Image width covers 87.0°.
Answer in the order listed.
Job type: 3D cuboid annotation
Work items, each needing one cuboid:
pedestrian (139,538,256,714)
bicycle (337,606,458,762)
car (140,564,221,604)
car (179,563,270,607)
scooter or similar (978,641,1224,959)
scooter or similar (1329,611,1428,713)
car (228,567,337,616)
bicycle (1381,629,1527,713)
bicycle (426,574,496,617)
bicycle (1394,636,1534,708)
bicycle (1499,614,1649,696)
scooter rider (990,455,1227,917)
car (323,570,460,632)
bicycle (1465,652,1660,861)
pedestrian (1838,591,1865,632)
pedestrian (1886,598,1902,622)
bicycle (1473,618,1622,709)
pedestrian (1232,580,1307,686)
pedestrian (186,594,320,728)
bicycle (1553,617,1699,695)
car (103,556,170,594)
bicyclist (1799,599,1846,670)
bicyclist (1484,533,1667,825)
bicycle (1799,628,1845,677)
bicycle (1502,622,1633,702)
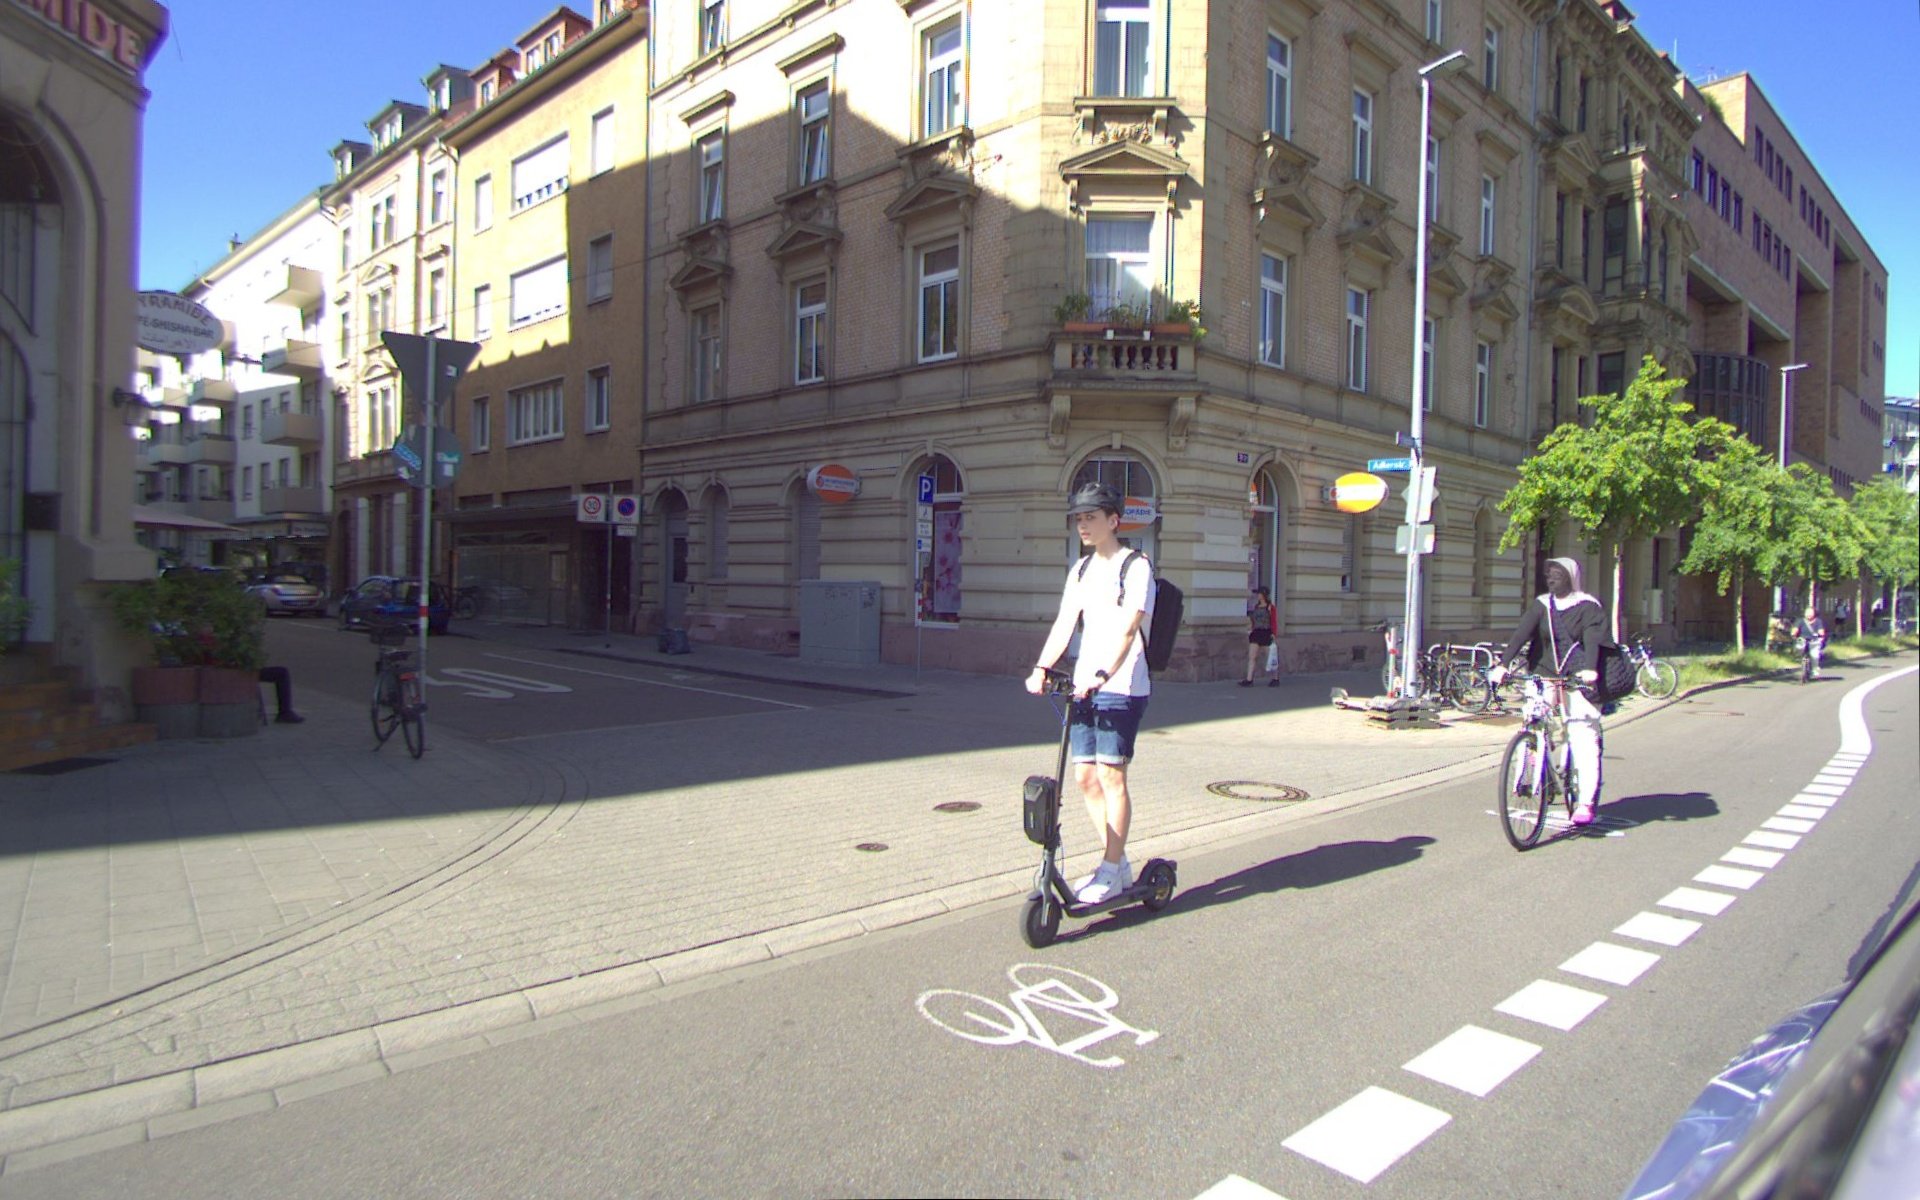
[{"bbox_3d":[-8.238,0.261,10.934,0.906,1.783,0.854,0,0,43],"label":"pedestrian"},{"bbox_3d":[-5.021,0.694,8.977,0.641,1.186,1.823,5,-1,-36],"label":"bicycle"},{"bbox_3d":[-30.106,-0.645,39.056,3.757,1.450,1.776,2,1,40],"label":"car"},{"bbox_3d":[-26.031,-0.541,35.767,3.757,1.450,1.776,2,1,40],"label":"car"},{"bbox_3d":[0.671,0.832,4.664,1.150,1.242,0.491,1,-1,-41],"label":"scooter or similar"},{"bbox_3d":[5.385,0.774,13.064,0.411,1.204,1.115,1,1,-33],"label":"scooter or similar"},{"bbox_3d":[-21.298,-0.280,31.765,3.983,1.351,1.775,2,-1,40],"label":"car"},{"bbox_3d":[6.651,0.923,13.705,0.595,0.955,1.677,1,1,-33],"label":"bicycle"},{"bbox_3d":[-14.761,-0.146,29.919,1.988,1.193,0.629,1,1,19],"label":"bicycle"},{"bbox_3d":[7.054,0.985,14.241,0.595,0.831,1.677,1,2,-33],"label":"bicycle"},{"bbox_3d":[10.289,0.881,17.028,0.697,1.142,2.001,1,3,-39],"label":"bicycle"},{"bbox_3d":[0.688,0.351,4.674,0.885,1.884,0.667,1,-1,-41],"label":"scooter rider"},{"bbox_3d":[-14.633,0.006,25.981,3.983,1.438,1.775,2,-1,40],"label":"car"},{"bbox_3d":[3.908,0.924,6.510,1.761,1.106,0.558,0,-1,-42],"label":"bicycle"},{"bbox_3d":[41.939,0.526,47.630,1.087,1.906,0.789,0,1,-41],"label":"pedestrian"},{"bbox_3d":[58.260,0.607,63.128,0.723,1.505,0.633,0,1,-41],"label":"pedestrian"},{"bbox_3d":[8.523,0.886,14.747,0.595,1.114,1.729,1,3,-37],"label":"bicycle"},{"bbox_3d":[4.786,0.486,15.664,0.911,1.561,0.710,0,1,-41],"label":"pedestrian"},{"bbox_3d":[-6.958,0.560,9.968,0.849,1.229,0.920,0,0,43],"label":"pedestrian"},{"bbox_3d":[11.559,0.933,17.608,1.993,1.106,0.835,5,3,40],"label":"bicycle"},{"bbox_3d":[-37.553,-1.151,46.116,3.758,1.686,1.775,2,1,42],"label":"car"},{"bbox_3d":[19.294,0.755,22.629,0.893,1.557,0.658,1,-1,-41],"label":"bicyclist"},{"bbox_3d":[4.011,0.472,6.601,0.853,1.733,0.780,1,-1,-41],"label":"bicyclist"},{"bbox_3d":[19.262,1.158,22.604,1.481,1.040,0.558,0,-1,-41],"label":"bicycle"},{"bbox_3d":[9.531,0.940,15.924,0.595,1.058,1.605,1,3,-37],"label":"bicycle"}]
